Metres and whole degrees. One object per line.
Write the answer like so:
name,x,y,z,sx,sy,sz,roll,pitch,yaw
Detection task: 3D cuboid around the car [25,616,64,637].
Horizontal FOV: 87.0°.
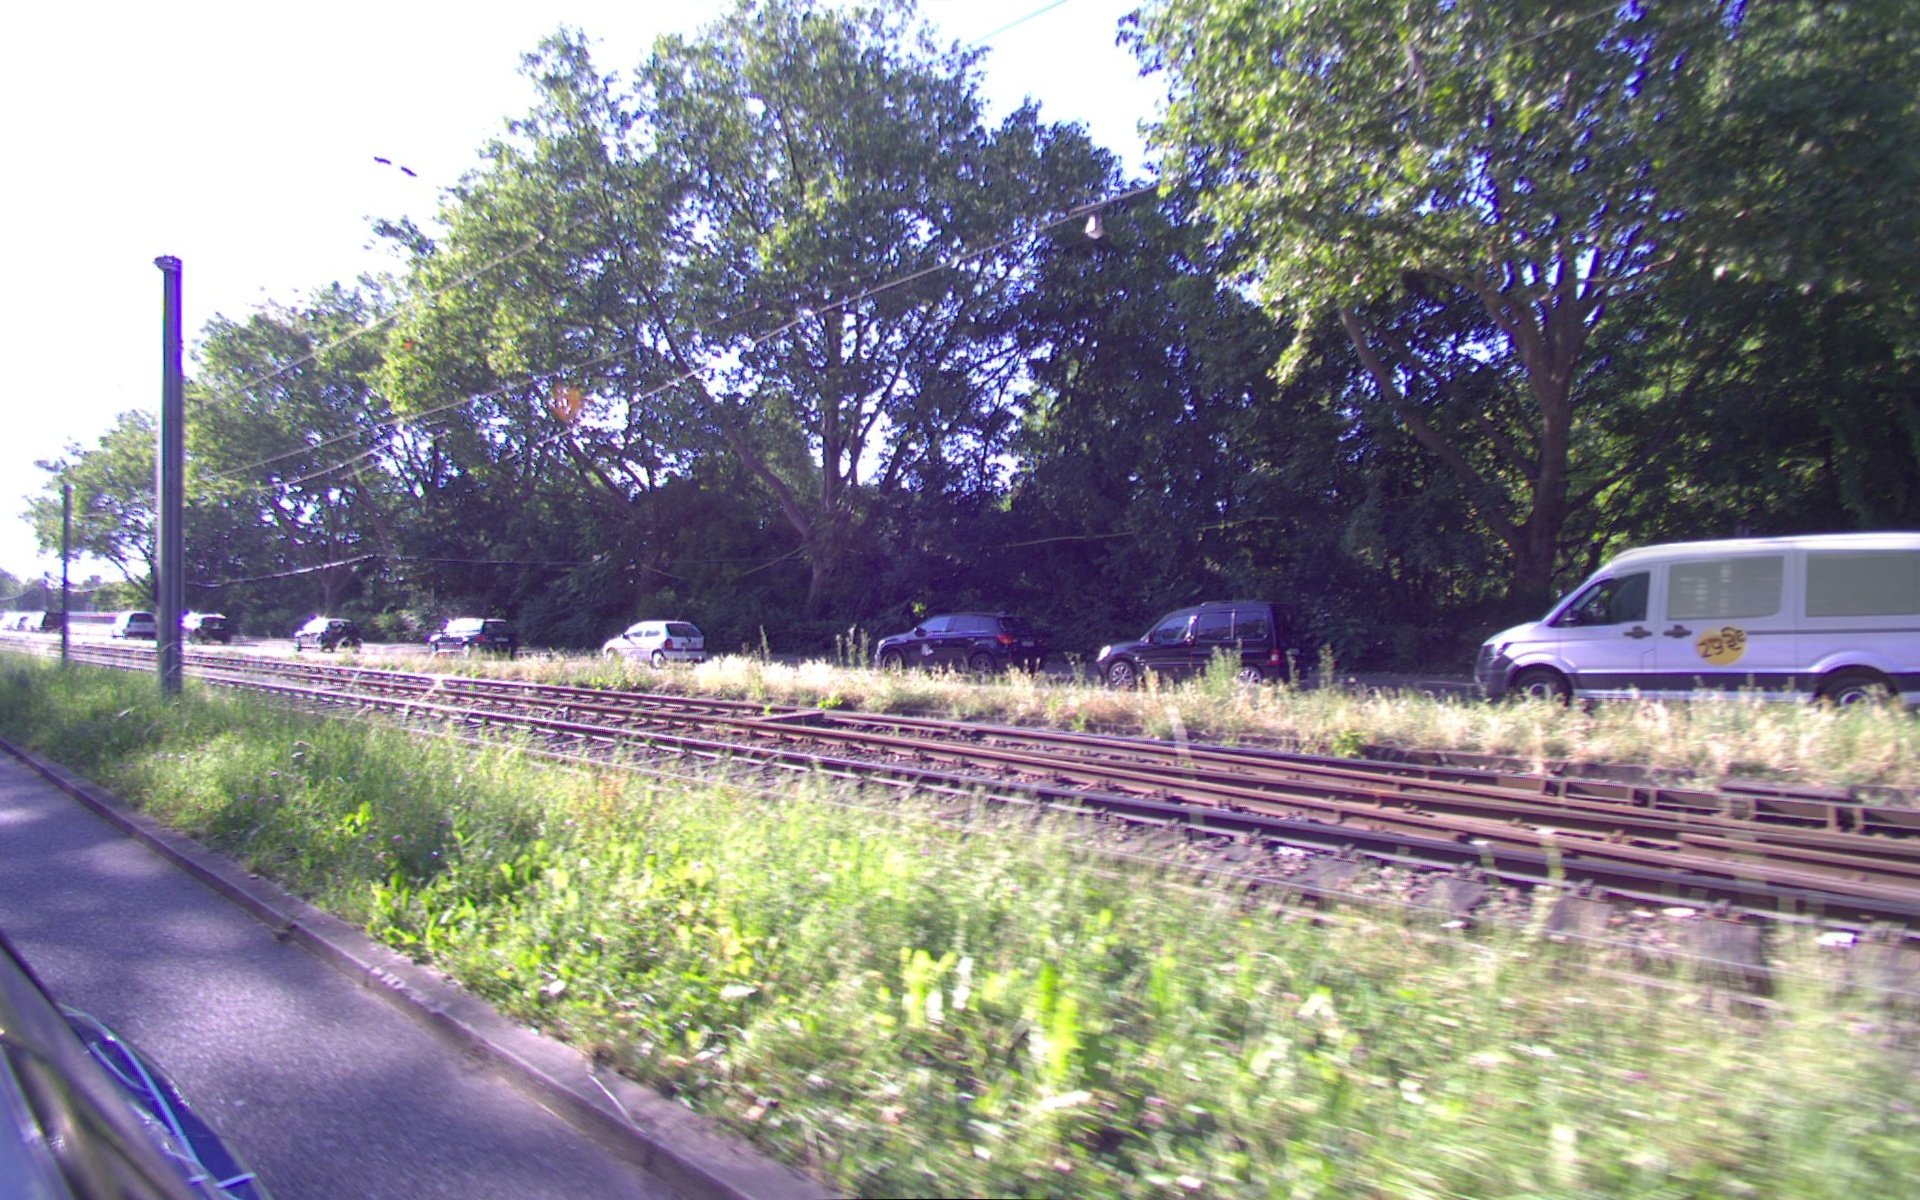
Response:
car,-77.302,2.224,85.451,3.894,1.753,1.714,-1,-2,38

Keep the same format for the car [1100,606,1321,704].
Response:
car,4.865,1.031,19.875,3.876,1.741,1.722,-1,-2,38

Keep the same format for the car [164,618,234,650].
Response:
car,-43.222,1.896,57.460,4.382,1.732,1.812,0,-2,34

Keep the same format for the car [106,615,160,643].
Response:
car,-55.412,1.929,67.773,4.388,1.854,1.810,-1,-2,38

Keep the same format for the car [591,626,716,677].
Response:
car,-9.397,1.542,30.904,3.846,1.448,1.722,-1,-2,38

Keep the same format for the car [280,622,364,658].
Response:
car,-28.788,1.795,45.623,4.388,1.517,1.810,-1,-2,38

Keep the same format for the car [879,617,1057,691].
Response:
car,0.148,1.202,23.496,3.876,1.567,1.722,-1,-2,38

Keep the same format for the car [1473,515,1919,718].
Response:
car,11.033,0.257,14.791,6.041,2.540,2.163,-1,-2,38

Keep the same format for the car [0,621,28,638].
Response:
car,-89.921,2.773,95.916,3.919,1.511,1.638,-1,-2,38

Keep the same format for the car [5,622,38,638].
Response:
car,-85.791,2.714,92.455,3.781,1.453,1.638,-1,-2,39

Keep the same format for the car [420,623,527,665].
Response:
car,-18.010,1.592,37.420,4.317,1.448,1.810,-1,-2,38
